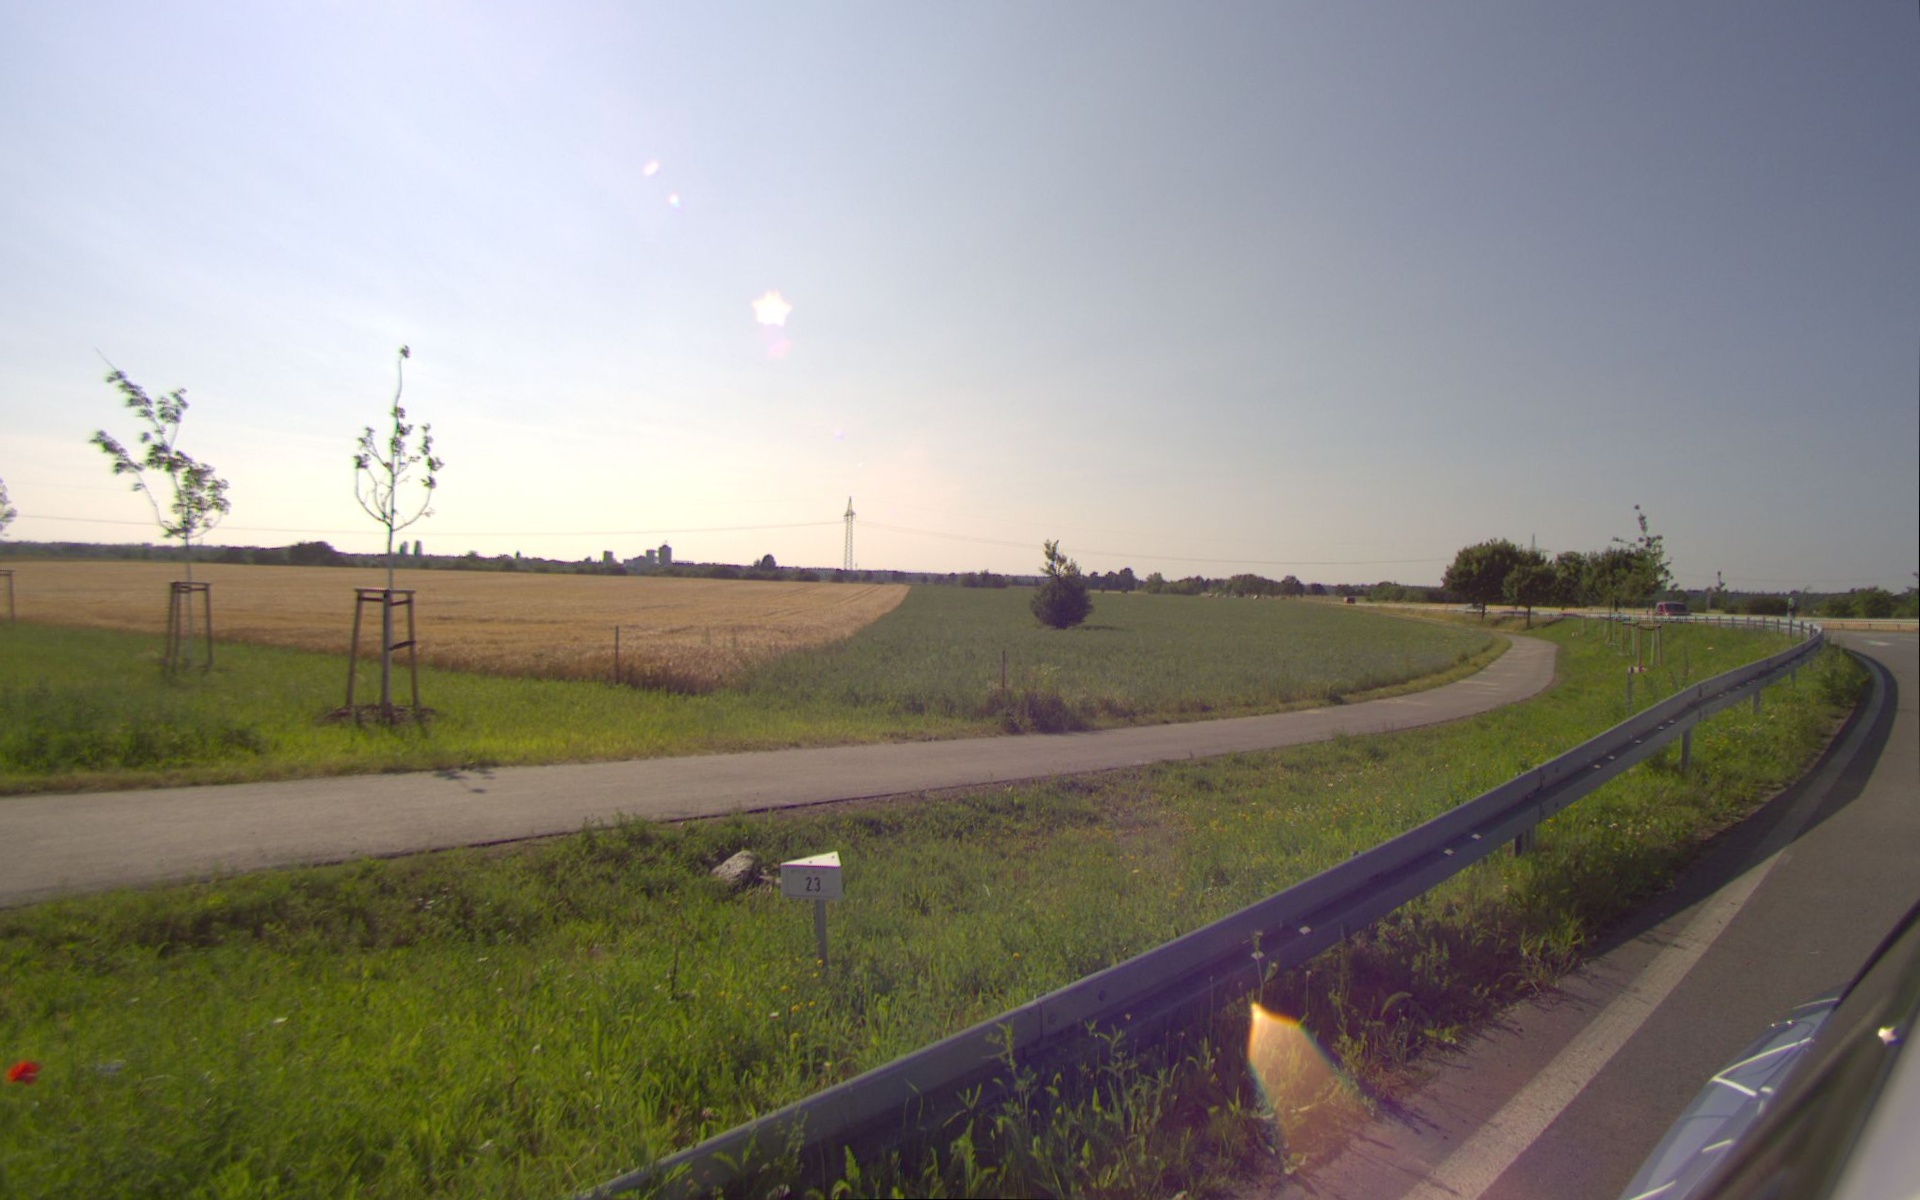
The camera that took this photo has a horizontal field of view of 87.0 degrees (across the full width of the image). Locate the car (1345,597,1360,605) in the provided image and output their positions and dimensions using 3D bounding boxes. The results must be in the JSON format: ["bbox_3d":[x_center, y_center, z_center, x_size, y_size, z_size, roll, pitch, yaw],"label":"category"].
[{"bbox_3d":[83.738,0.193,215.813,1.781,1.694,3.998,0,0,2],"label":"car"}]
